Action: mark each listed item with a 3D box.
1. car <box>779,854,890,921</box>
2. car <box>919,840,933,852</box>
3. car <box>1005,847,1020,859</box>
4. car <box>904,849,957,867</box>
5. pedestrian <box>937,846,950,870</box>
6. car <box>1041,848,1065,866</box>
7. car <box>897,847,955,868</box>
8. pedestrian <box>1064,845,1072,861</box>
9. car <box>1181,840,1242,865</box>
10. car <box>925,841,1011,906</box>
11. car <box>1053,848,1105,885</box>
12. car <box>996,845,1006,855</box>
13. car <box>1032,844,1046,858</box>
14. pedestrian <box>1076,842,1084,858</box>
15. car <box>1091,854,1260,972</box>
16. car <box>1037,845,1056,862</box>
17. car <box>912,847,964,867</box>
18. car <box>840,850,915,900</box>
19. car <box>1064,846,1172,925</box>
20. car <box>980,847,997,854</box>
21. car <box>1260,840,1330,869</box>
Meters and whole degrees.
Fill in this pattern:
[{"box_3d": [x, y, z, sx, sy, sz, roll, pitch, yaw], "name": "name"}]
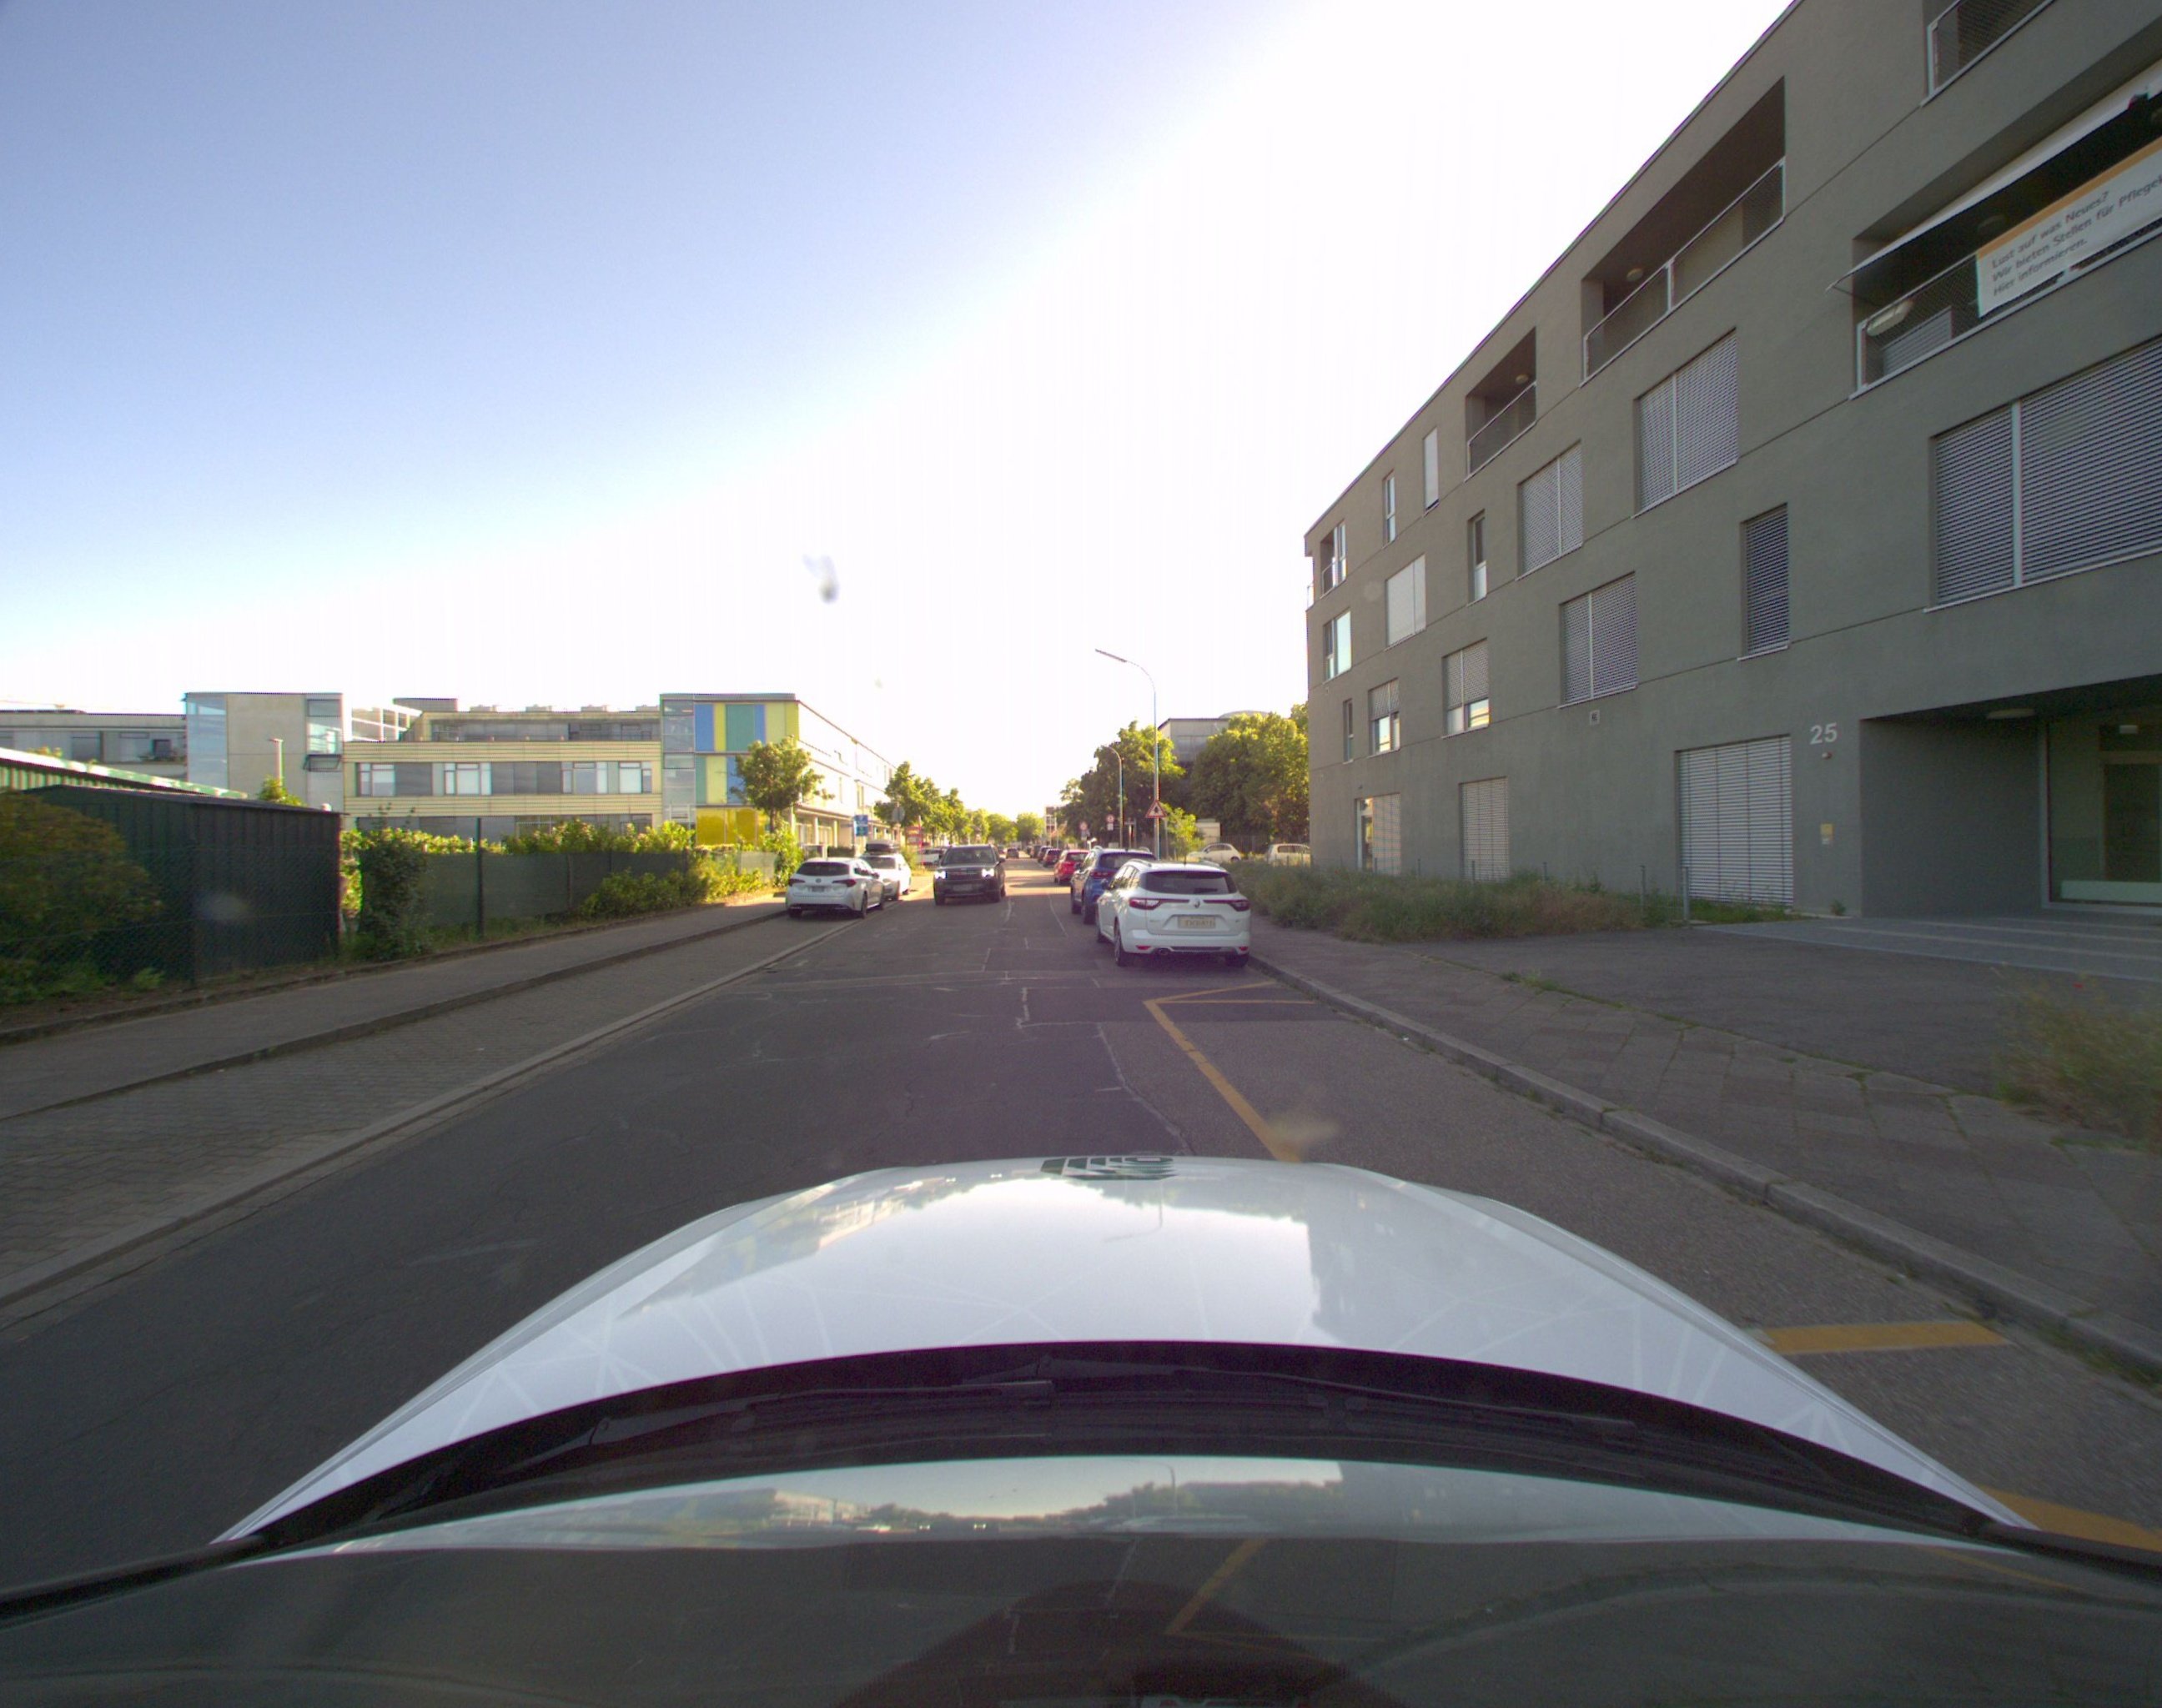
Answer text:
[{"box_3d": [-6.121, 0.768, 20.747, 1.744, 1.446, 4.534, 1, 0, -4], "name": "car"}, {"box_3d": [-28.290, -1.449, 148.736, 1.990, 2.014, 3.993, -1, -1, -5], "name": "car"}, {"box_3d": [-9.054, -0.126, 107.944, 1.740, 1.543, 3.995, -1, 0, -3], "name": "car"}, {"box_3d": [-13.402, 0.377, 72.762, 4.426, 1.501, 1.824, -1, 0, -5], "name": "car"}, {"box_3d": [-10.645, 0.300, 62.901, 0.856, 1.842, 0.824, 1, 0, -3], "name": "pedestrian"}, {"box_3d": [-2.306, 0.220, 67.279, 1.717, 1.454, 4.643, 0, 0, -5], "name": "car"}, {"box_3d": [-13.227, 0.306, 69.885, 4.599, 1.651, 1.866, -1, 0, -2], "name": "car"}, {"box_3d": [-1.408, -0.095, 88.600, 0.716, 1.758, 0.883, -3, 1, -4], "name": "pedestrian"}, {"box_3d": [8.306, -0.078, 51.905, 3.540, 1.486, 1.598, -1, 0, -4], "name": "car"}, {"box_3d": [-3.366, 0.522, 25.152, 1.937, 1.727, 4.837, -3, 1, -1], "name": "car"}, {"box_3d": [-0.151, 0.488, 35.044, 1.816, 1.499, 4.444, 1, 0, -5], "name": "car"}, {"box_3d": [-15.542, -0.720, 158.167, 1.953, 1.867, 5.242, -1, 0, -7], "name": "car"}, {"box_3d": [-5.605, -0.392, 108.078, 1.730, 1.830, 3.899, -1, 1, -4], "name": "car"}, {"box_3d": [-0.087, -0.449, 86.162, 0.697, 1.661, 0.750, -2, 1, -5], "name": "pedestrian"}, {"box_3d": [1.213, 0.738, 12.458, 1.741, 1.429, 4.579, 1, 0, -4], "name": "car"}, {"box_3d": [-3.559, -0.066, 83.244, 1.808, 1.666, 4.586, 0, 1, -4], "name": "car"}, {"box_3d": [-13.762, 0.244, 78.391, 4.734, 1.865, 1.824, 0, 1, -5], "name": "car"}, {"box_3d": [-6.689, 0.631, 27.196, 1.693, 1.513, 4.509, 1, 0, -5], "name": "car"}, {"box_3d": [0.707, 0.620, 18.724, 1.814, 1.599, 4.618, 1, 0, -6], "name": "car"}, {"box_3d": [-22.088, -0.838, 194.288, 3.980, 1.519, 1.997, -1, -1, -5], "name": "car"}, {"box_3d": [11.524, 0.020, 43.957, 3.316, 1.458, 1.714, -1, 1, 0], "name": "car"}]
